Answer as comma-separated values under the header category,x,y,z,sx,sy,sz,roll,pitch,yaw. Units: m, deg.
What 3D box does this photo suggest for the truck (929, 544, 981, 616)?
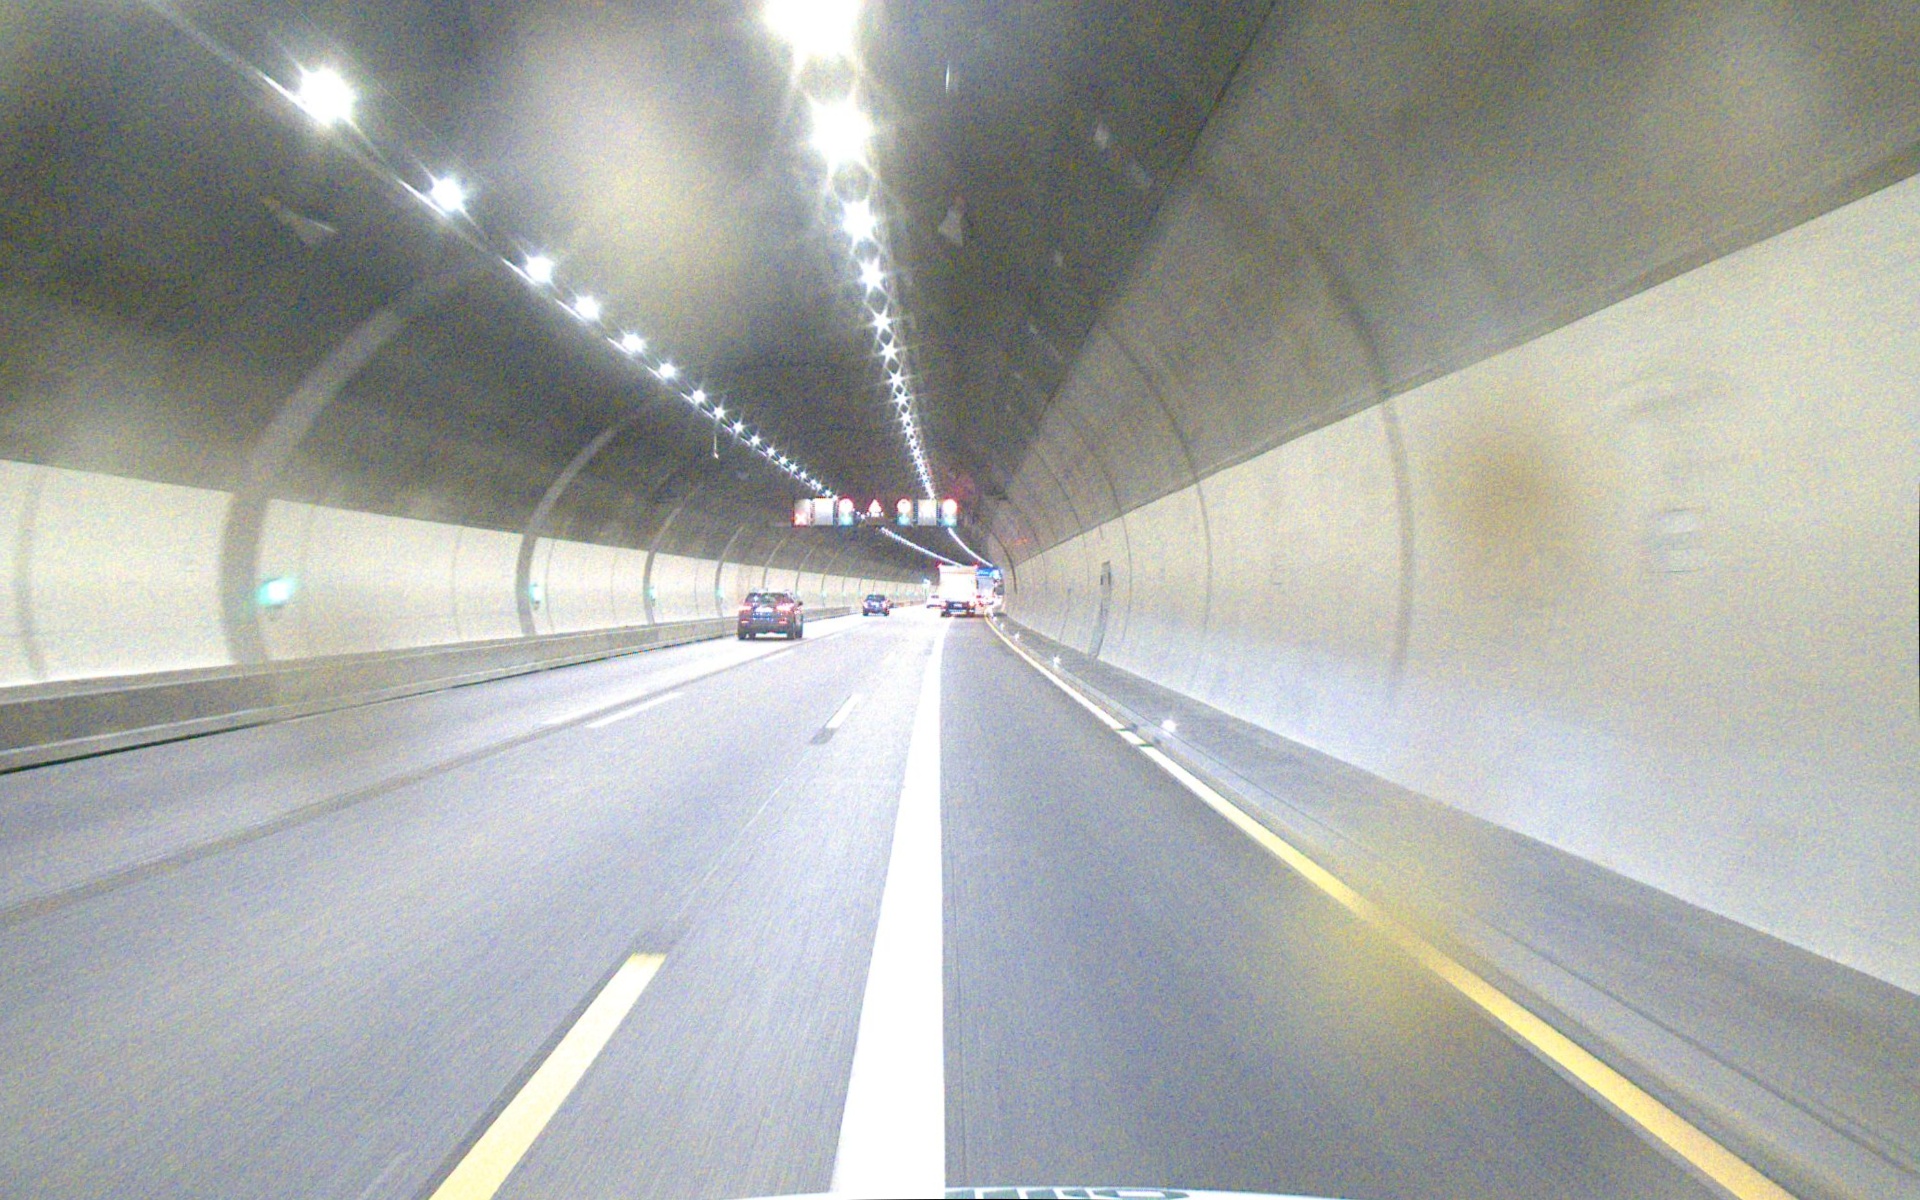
category,x,y,z,sx,sy,sz,roll,pitch,yaw
truck,-0.490,-1.409,119.460,3.212,4.731,17.280,-1,0,-2

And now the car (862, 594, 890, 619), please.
category,x,y,z,sx,sy,sz,roll,pitch,yaw
car,-5.645,0.408,111.527,1.776,1.546,4.000,0,2,-1

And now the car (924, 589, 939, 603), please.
category,x,y,z,sx,sy,sz,roll,pitch,yaw
car,-2.961,-0.392,172.565,1.617,1.297,4.000,0,2,-1

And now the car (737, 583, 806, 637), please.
category,x,y,z,sx,sy,sz,roll,pitch,yaw
car,-6.037,0.285,53.323,1.775,1.646,4.000,0,1,0

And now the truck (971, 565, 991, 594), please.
category,x,y,z,sx,sy,sz,roll,pitch,yaw
truck,3.149,-2.991,247.342,2.862,4.118,14.031,-1,0,1
